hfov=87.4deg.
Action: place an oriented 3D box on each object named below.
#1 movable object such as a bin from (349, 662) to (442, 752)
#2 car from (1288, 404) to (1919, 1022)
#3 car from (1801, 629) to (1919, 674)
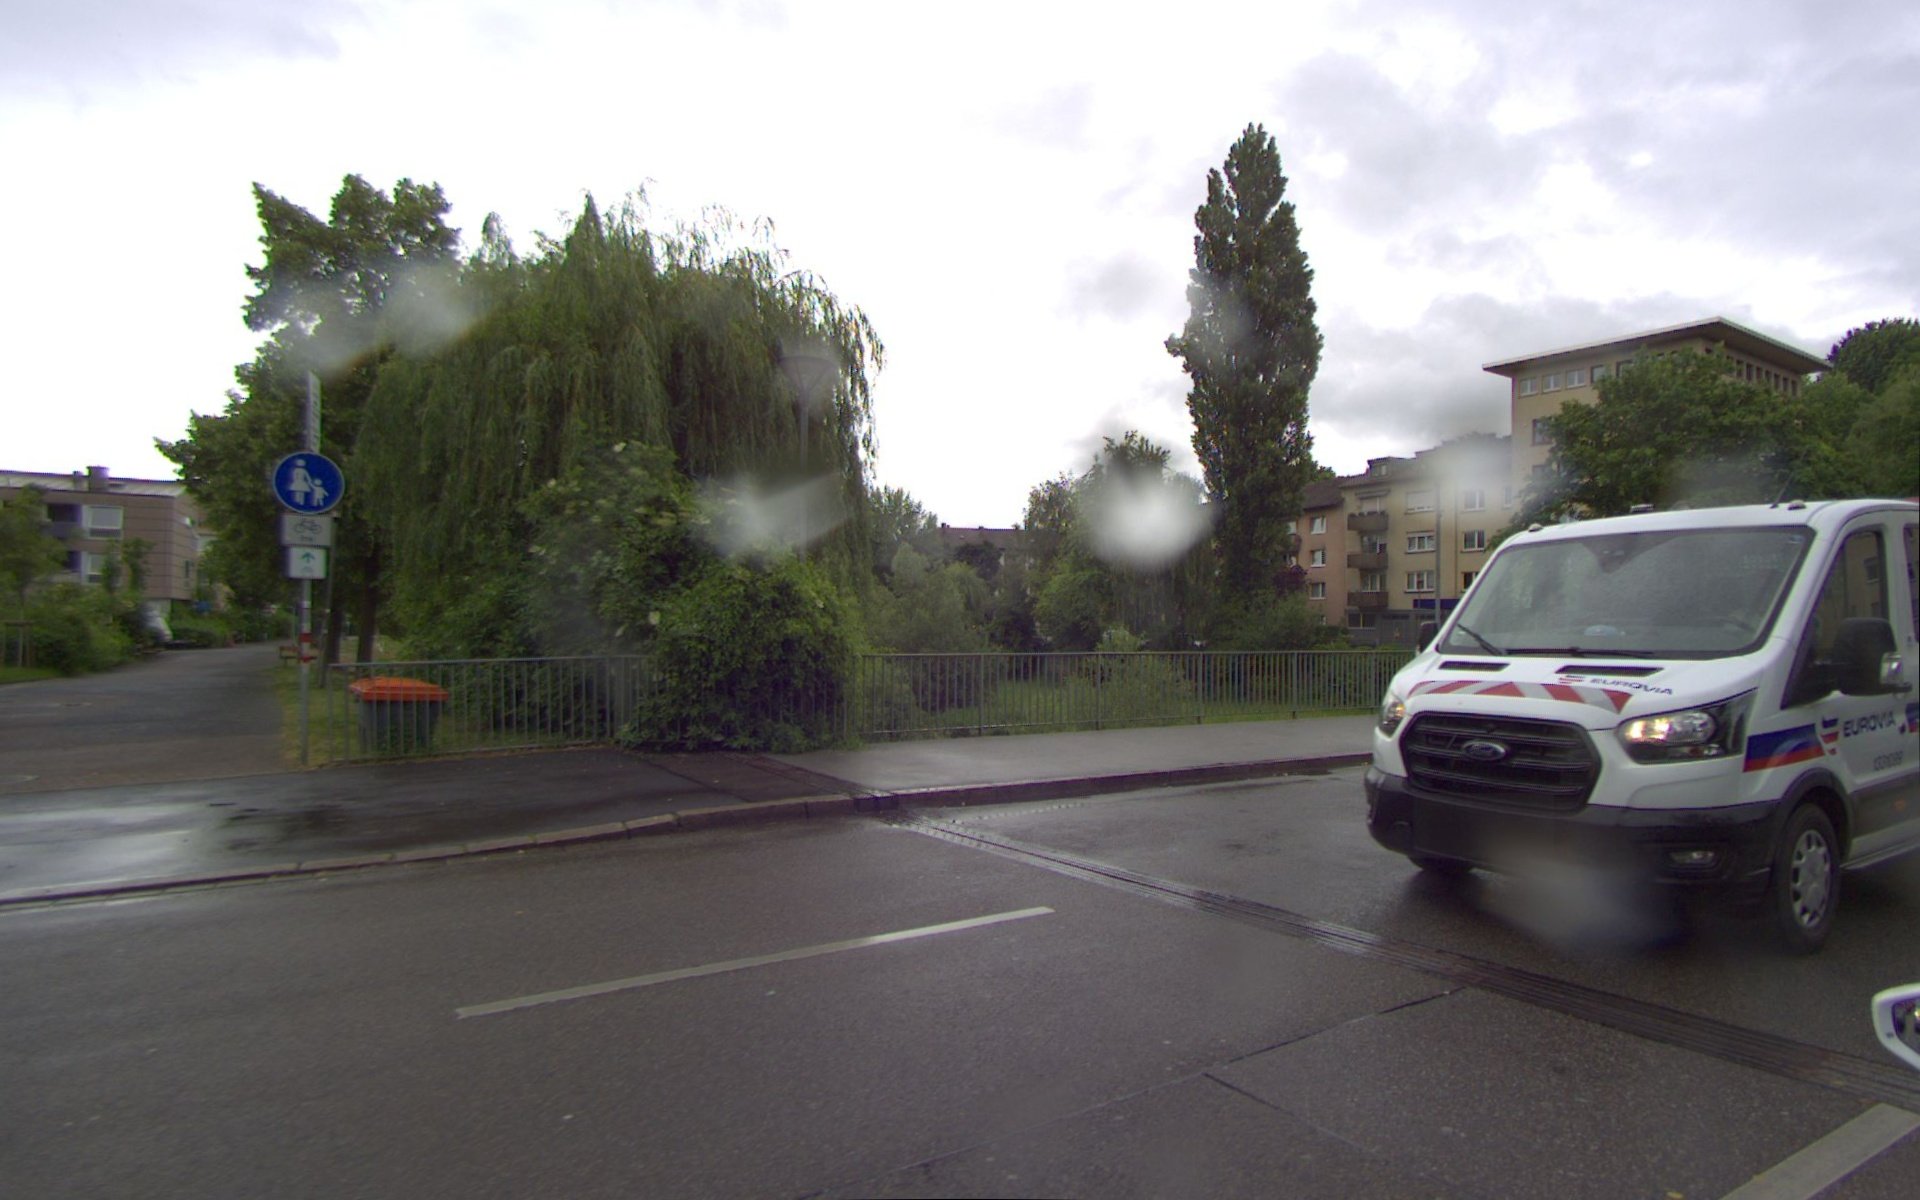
[{"bbox_3d":[-6.077,1.124,10.830,0.823,0.888,0.961,2,-2,-30],"label":"movable object such as a bin"},{"bbox_3d":[5.232,0.495,6.463,6.434,2.339,2.278,1,-2,-31],"label":"car"},{"bbox_3d":[42.365,2.355,46.743,1.982,1.879,4.706,-1,0,-38],"label":"car"}]
